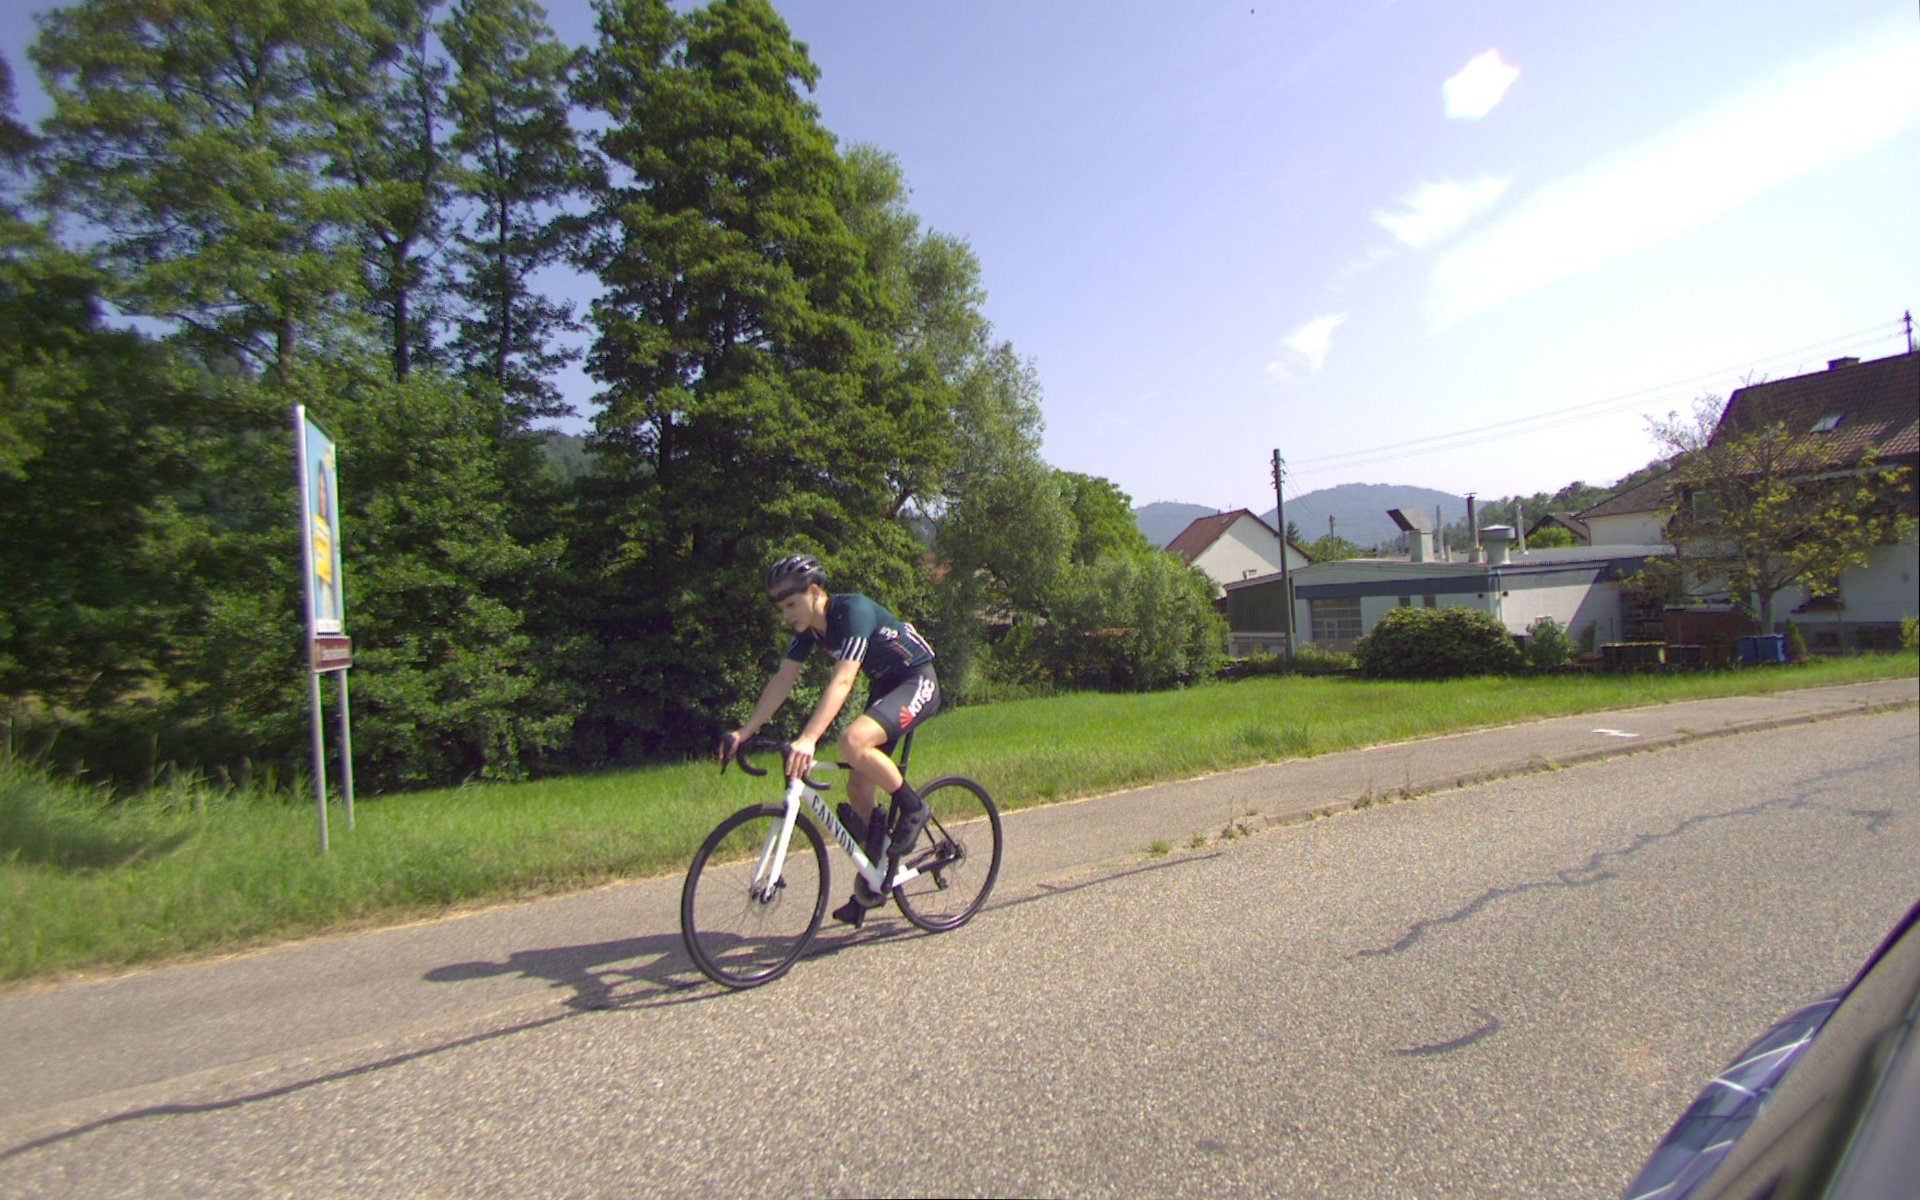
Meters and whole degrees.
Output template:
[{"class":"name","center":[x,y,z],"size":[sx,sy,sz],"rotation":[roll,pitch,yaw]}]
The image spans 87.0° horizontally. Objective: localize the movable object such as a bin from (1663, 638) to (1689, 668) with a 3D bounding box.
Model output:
[{"class":"movable object such as a bin","center":[22.774,1.677,32.188],"size":[0.575,0.911,0.420],"rotation":[-2,-3,-31]}]

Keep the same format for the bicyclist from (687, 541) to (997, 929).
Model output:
[{"class":"bicyclist","center":[-0.460,0.466,4.139],"size":[1.125,1.359,0.580],"rotation":[0,1,-41]}]

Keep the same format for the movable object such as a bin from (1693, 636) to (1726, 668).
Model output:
[{"class":"movable object such as a bin","center":[23.240,1.613,31.378],"size":[0.575,0.911,0.570],"rotation":[-2,-3,-31]}]

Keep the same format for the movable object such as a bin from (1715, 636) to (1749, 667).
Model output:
[{"class":"movable object such as a bin","center":[23.549,1.572,30.877],"size":[0.575,0.911,0.570],"rotation":[-2,-3,-31]}]

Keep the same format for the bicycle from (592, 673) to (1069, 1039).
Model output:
[{"class":"bicycle","center":[-0.436,0.899,4.163],"size":[1.956,1.048,0.580],"rotation":[0,1,-41]}]

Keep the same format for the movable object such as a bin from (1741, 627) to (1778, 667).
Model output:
[{"class":"movable object such as a bin","center":[23.923,1.412,30.284],"size":[0.783,1.133,0.570],"rotation":[-2,-3,-31]}]

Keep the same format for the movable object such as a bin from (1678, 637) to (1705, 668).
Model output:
[{"class":"movable object such as a bin","center":[22.991,1.647,31.815],"size":[0.575,0.911,0.420],"rotation":[-2,-3,-31]}]

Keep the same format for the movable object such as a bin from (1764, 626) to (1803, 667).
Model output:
[{"class":"movable object such as a bin","center":[24.234,1.371,29.780],"size":[0.778,1.133,0.570],"rotation":[-2,-3,-31]}]
